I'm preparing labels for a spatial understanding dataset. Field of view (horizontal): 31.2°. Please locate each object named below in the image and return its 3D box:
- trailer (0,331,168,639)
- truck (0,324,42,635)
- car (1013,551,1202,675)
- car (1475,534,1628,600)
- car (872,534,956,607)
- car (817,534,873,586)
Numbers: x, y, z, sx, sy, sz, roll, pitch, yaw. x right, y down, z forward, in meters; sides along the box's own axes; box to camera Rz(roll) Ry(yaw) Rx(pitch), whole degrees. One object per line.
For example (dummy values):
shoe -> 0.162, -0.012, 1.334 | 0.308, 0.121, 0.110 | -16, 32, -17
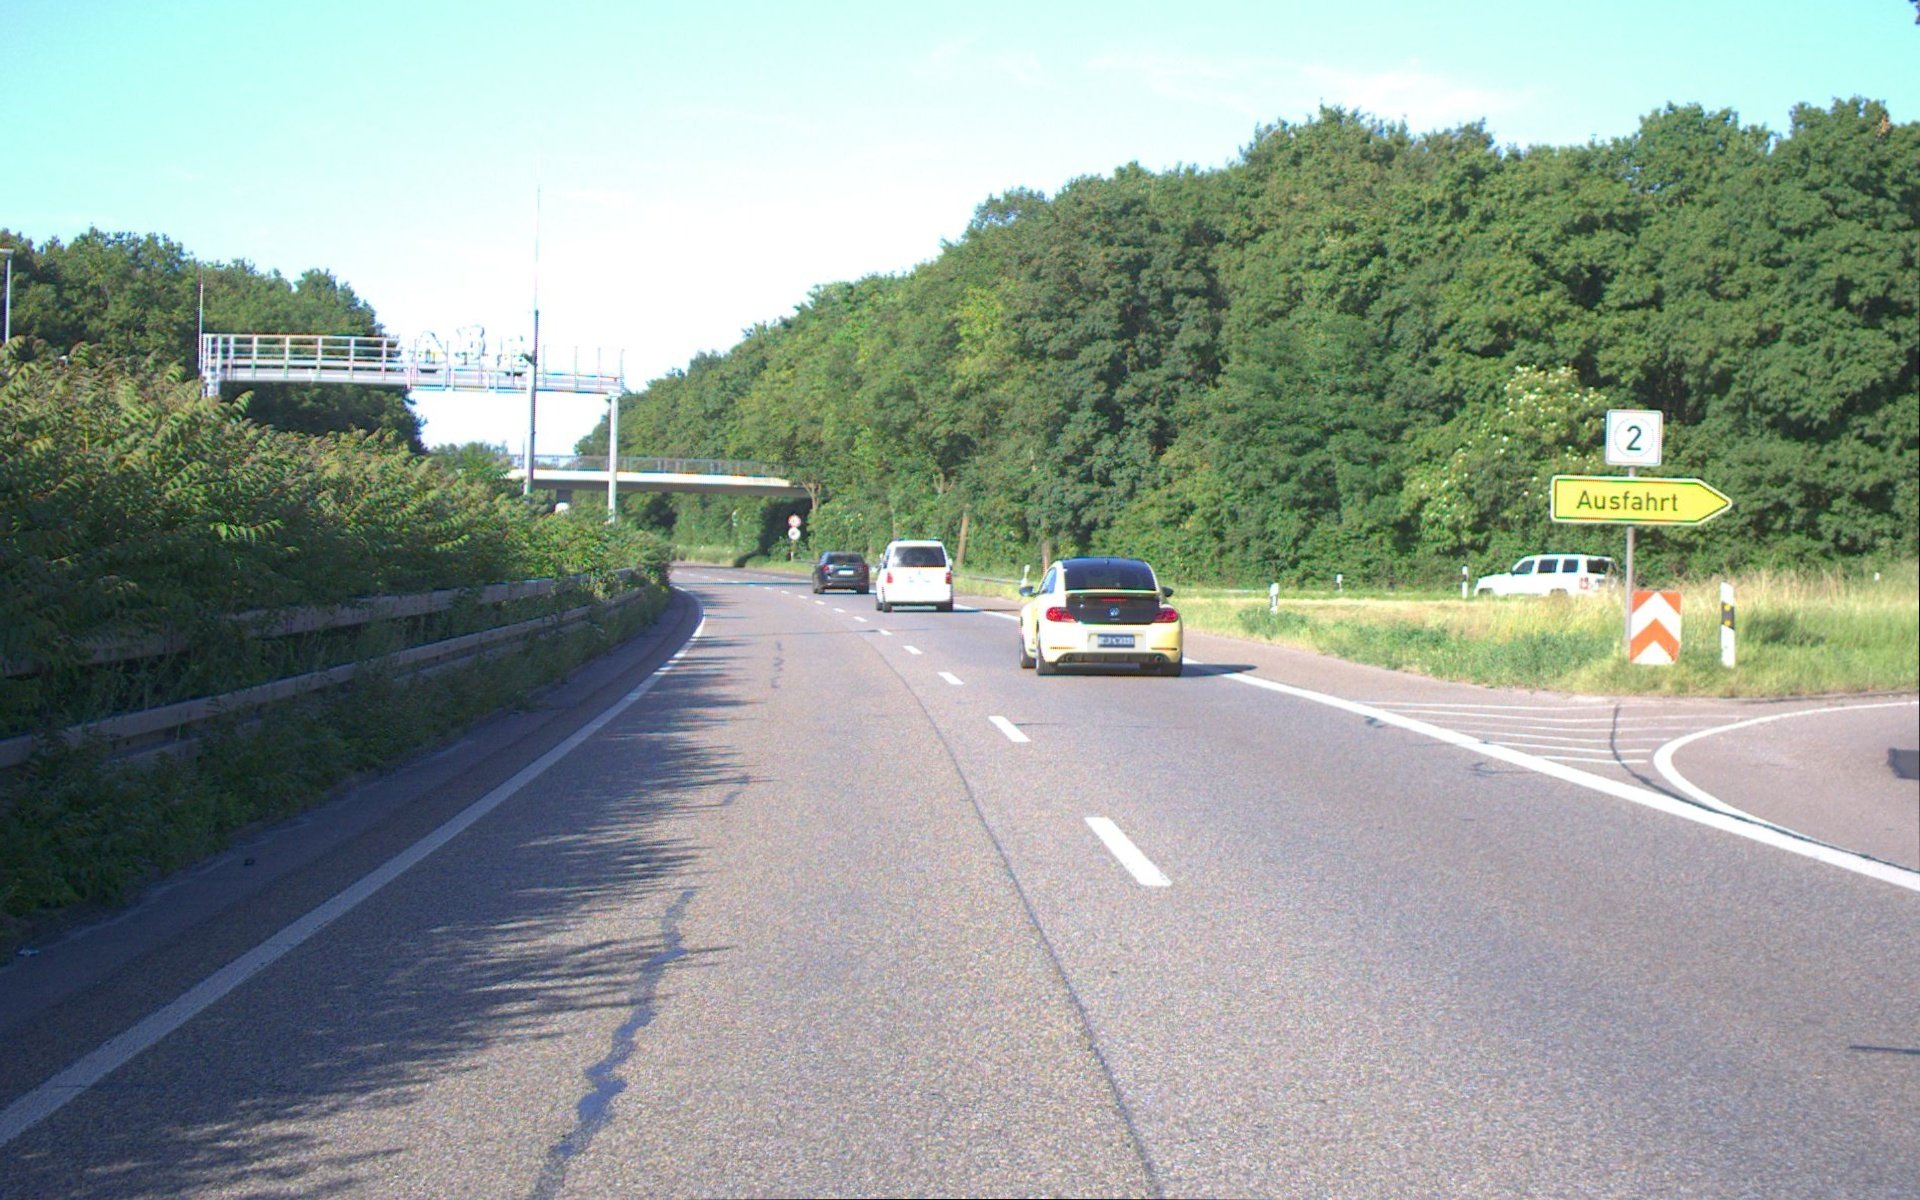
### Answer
trailer -> -14.208, -1.670, 51.208 | 2.648, 4.109, 10.700 | 1, 1, -2
truck -> -13.990, -1.594, 44.903 | 2.648, 4.109, 5.562 | 1, 1, -2
car -> 1.811, 0.129, 43.489 | 1.897, 1.466, 4.001 | 0, 1, -5
car -> 16.862, -0.952, 98.113 | 1.898, 1.817, 3.998 | -1, 1, -42
car -> -1.184, -0.762, 86.719 | 1.897, 1.761, 4.001 | 0, 1, -4
car -> -4.011, -1.405, 120.248 | 1.897, 1.761, 4.000 | 0, 1, -2
